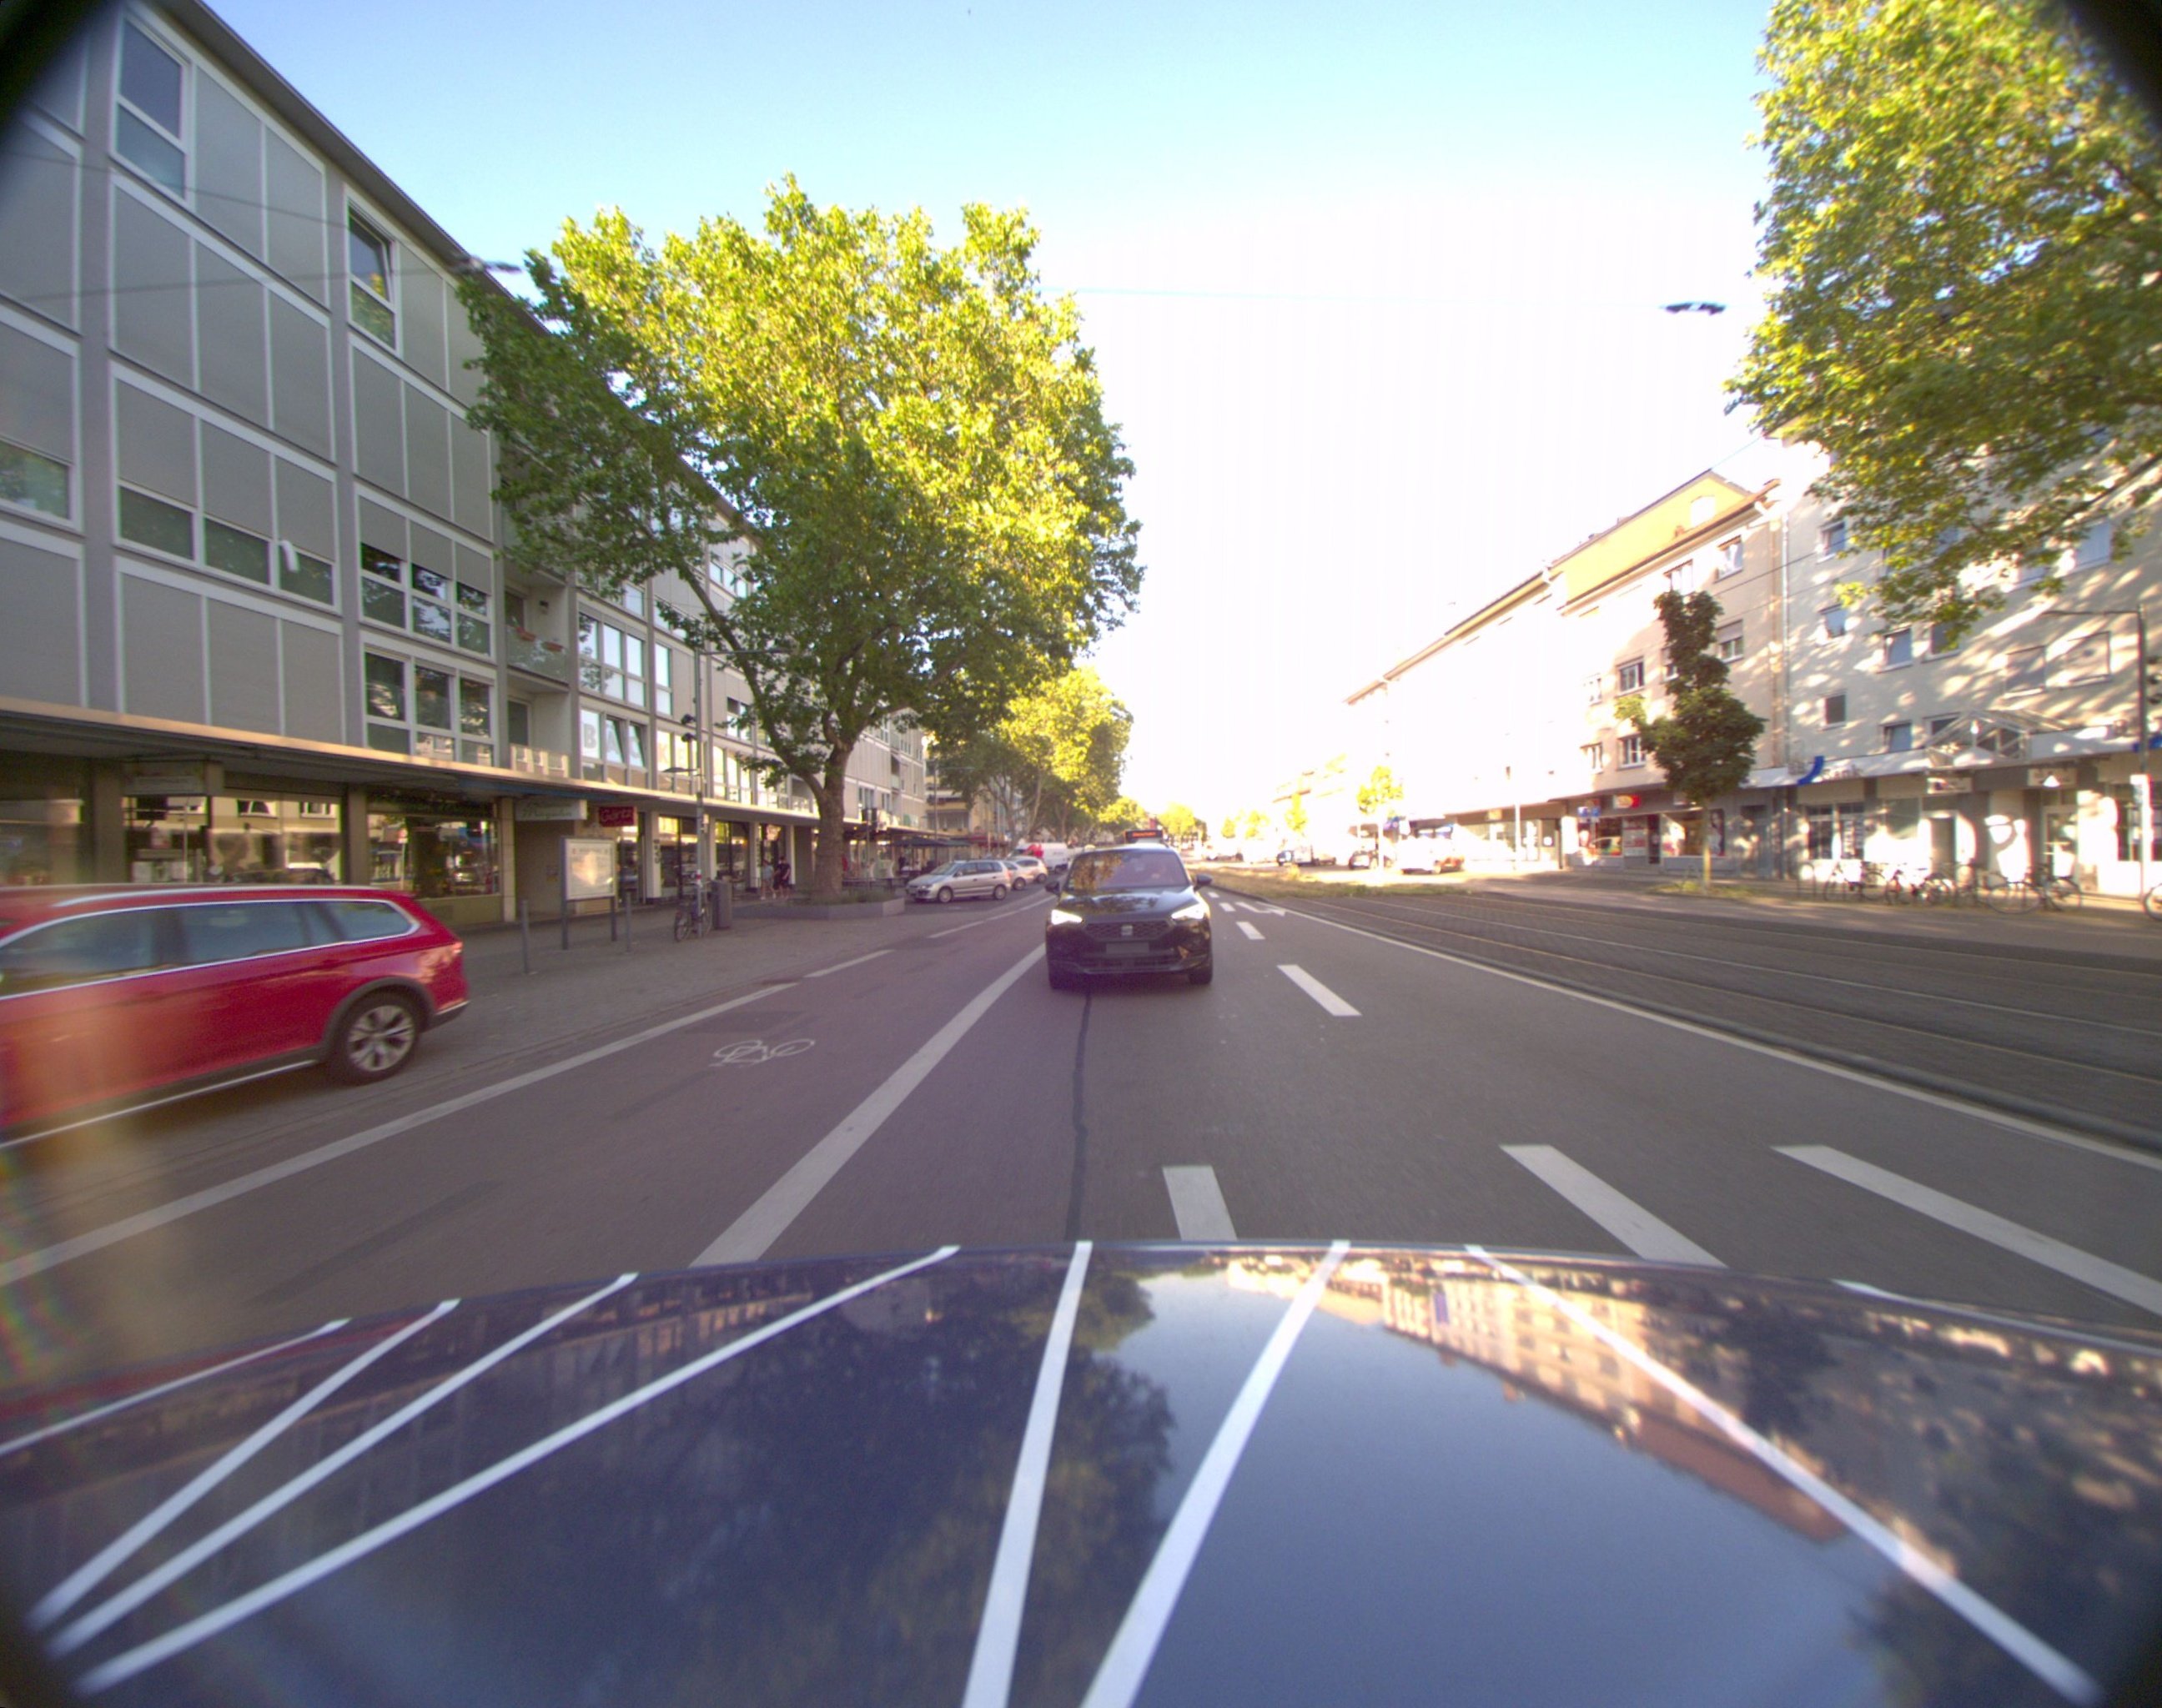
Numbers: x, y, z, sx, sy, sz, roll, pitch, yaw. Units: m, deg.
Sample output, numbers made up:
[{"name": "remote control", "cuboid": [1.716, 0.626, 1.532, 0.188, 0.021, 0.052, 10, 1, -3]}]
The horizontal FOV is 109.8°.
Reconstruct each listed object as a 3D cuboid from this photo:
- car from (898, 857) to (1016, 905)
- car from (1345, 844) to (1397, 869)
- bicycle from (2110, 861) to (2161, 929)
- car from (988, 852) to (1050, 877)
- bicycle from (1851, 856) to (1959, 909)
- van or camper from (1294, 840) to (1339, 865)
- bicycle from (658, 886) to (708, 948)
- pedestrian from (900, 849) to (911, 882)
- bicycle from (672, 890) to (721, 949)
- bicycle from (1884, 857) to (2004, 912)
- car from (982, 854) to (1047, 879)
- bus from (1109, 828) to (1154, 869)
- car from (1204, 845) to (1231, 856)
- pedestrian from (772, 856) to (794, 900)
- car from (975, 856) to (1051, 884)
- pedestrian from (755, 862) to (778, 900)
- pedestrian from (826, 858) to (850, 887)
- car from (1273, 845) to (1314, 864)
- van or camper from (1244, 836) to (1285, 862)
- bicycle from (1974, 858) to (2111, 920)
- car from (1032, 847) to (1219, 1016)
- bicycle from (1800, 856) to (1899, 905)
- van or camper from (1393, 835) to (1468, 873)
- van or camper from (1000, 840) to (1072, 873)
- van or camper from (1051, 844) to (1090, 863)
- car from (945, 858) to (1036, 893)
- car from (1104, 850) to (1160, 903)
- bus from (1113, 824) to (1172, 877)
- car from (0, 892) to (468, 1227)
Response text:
[{"name": "car", "cuboid": [-4.545, 0.959, 28.264, 1.804, 1.597, 4.008, 0, 0, 44]}, {"name": "car", "cuboid": [20.695, 0.164, 54.145, 4.459, 1.482, 1.765, -4, 0, -45]}, {"name": "bicycle", "cuboid": [18.584, 0.701, 12.601, 0.509, 1.118, 1.911, -2, 0, 3]}, {"name": "car", "cuboid": [-4.288, 0.704, 52.653, 4.008, 1.555, 1.655, -1, 2, -38]}, {"name": "bicycle", "cuboid": [19.022, 0.653, 17.561, 1.899, 1.118, 0.534, -2, 1, -1]}, {"name": "van or camper", "cuboid": [21.026, -0.188, 67.755, 4.459, 1.978, 1.795, -4, 1, -43]}, {"name": "bicycle", "cuboid": [-7.955, 1.230, 15.246, 0.295, 1.095, 1.717, 2, 0, -8]}, {"name": "pedestrian", "cuboid": [-10.891, 0.713, 47.153, 0.552, 2.002, 0.577, -3, 1, -12]}, {"name": "bicycle", "cuboid": [-7.662, 1.281, 15.194, 0.295, 1.034, 1.717, 2, 0, -8]}, {"name": "bicycle", "cuboid": [19.013, 0.663, 16.758, 1.899, 1.118, 0.652, -2, 1, -1]}, {"name": "car", "cuboid": [-4.306, 0.776, 49.442, 4.008, 1.514, 1.655, -1, 2, -38]}, {"name": "bus", "cuboid": [4.011, -0.540, 63.462, 2.872, 2.962, 12.237, -3, 1, 1]}, {"name": "car", "cuboid": [22.210, -0.545, 123.348, 3.919, 1.482, 1.767, -3, 0, -21]}, {"name": "pedestrian", "cuboid": [-10.984, 0.868, 28.015, 0.538, 1.582, 0.687, 1, 1, 1]}, {"name": "car", "cuboid": [-3.789, 0.870, 42.844, 4.008, 1.428, 1.655, -1, 2, -38]}, {"name": "pedestrian", "cuboid": [-11.594, 0.990, 28.040, 0.538, 1.392, 0.687, 1, 1, 1]}, {"name": "pedestrian", "cuboid": [-11.935, 0.906, 37.287, 0.750, 1.354, 0.963, -1, 1, 6]}, {"name": "car", "cuboid": [20.891, 0.018, 74.669, 4.007, 1.577, 1.874, -4, 0, -42]}, {"name": "van or camper", "cuboid": [21.447, -0.628, 88.599, 1.995, 2.652, 6.410, -3, 1, 40]}, {"name": "bicycle", "cuboid": [19.006, 0.675, 15.043, 1.899, 1.118, 0.652, -2, 1, -1]}, {"name": "car", "cuboid": [0.611, 0.777, 9.721, 1.807, 1.637, 4.001, -3, 0, 5]}, {"name": "bicycle", "cuboid": [19.025, 0.641, 18.815, 1.899, 1.118, 0.534, -2, 1, -1]}, {"name": "van or camper", "cuboid": [19.748, -0.011, 42.845, 4.823, 1.886, 1.946, -3, 1, -41]}, {"name": "van or camper", "cuboid": [-3.516, 0.162, 60.059, 5.473, 2.455, 1.995, -2, 1, -38]}, {"name": "van or camper", "cuboid": [-1.452, -0.106, 107.175, 5.473, 2.455, 1.994, -2, 1, -41]}, {"name": "car", "cuboid": [-4.176, 0.959, 35.517, 4.008, 1.428, 1.655, -1, 2, -41]}, {"name": "car", "cuboid": [1.722, 0.685, 25.267, 1.658, 1.571, 4.001, -2, 0, 4]}, {"name": "bus", "cuboid": [3.897, -0.332, 51.218, 2.872, 2.962, 12.237, -3, 1, 0]}, {"name": "car", "cuboid": [-6.215, 1.092, 4.216, 1.782, 1.488, 4.568, 1, 0, 3]}]
